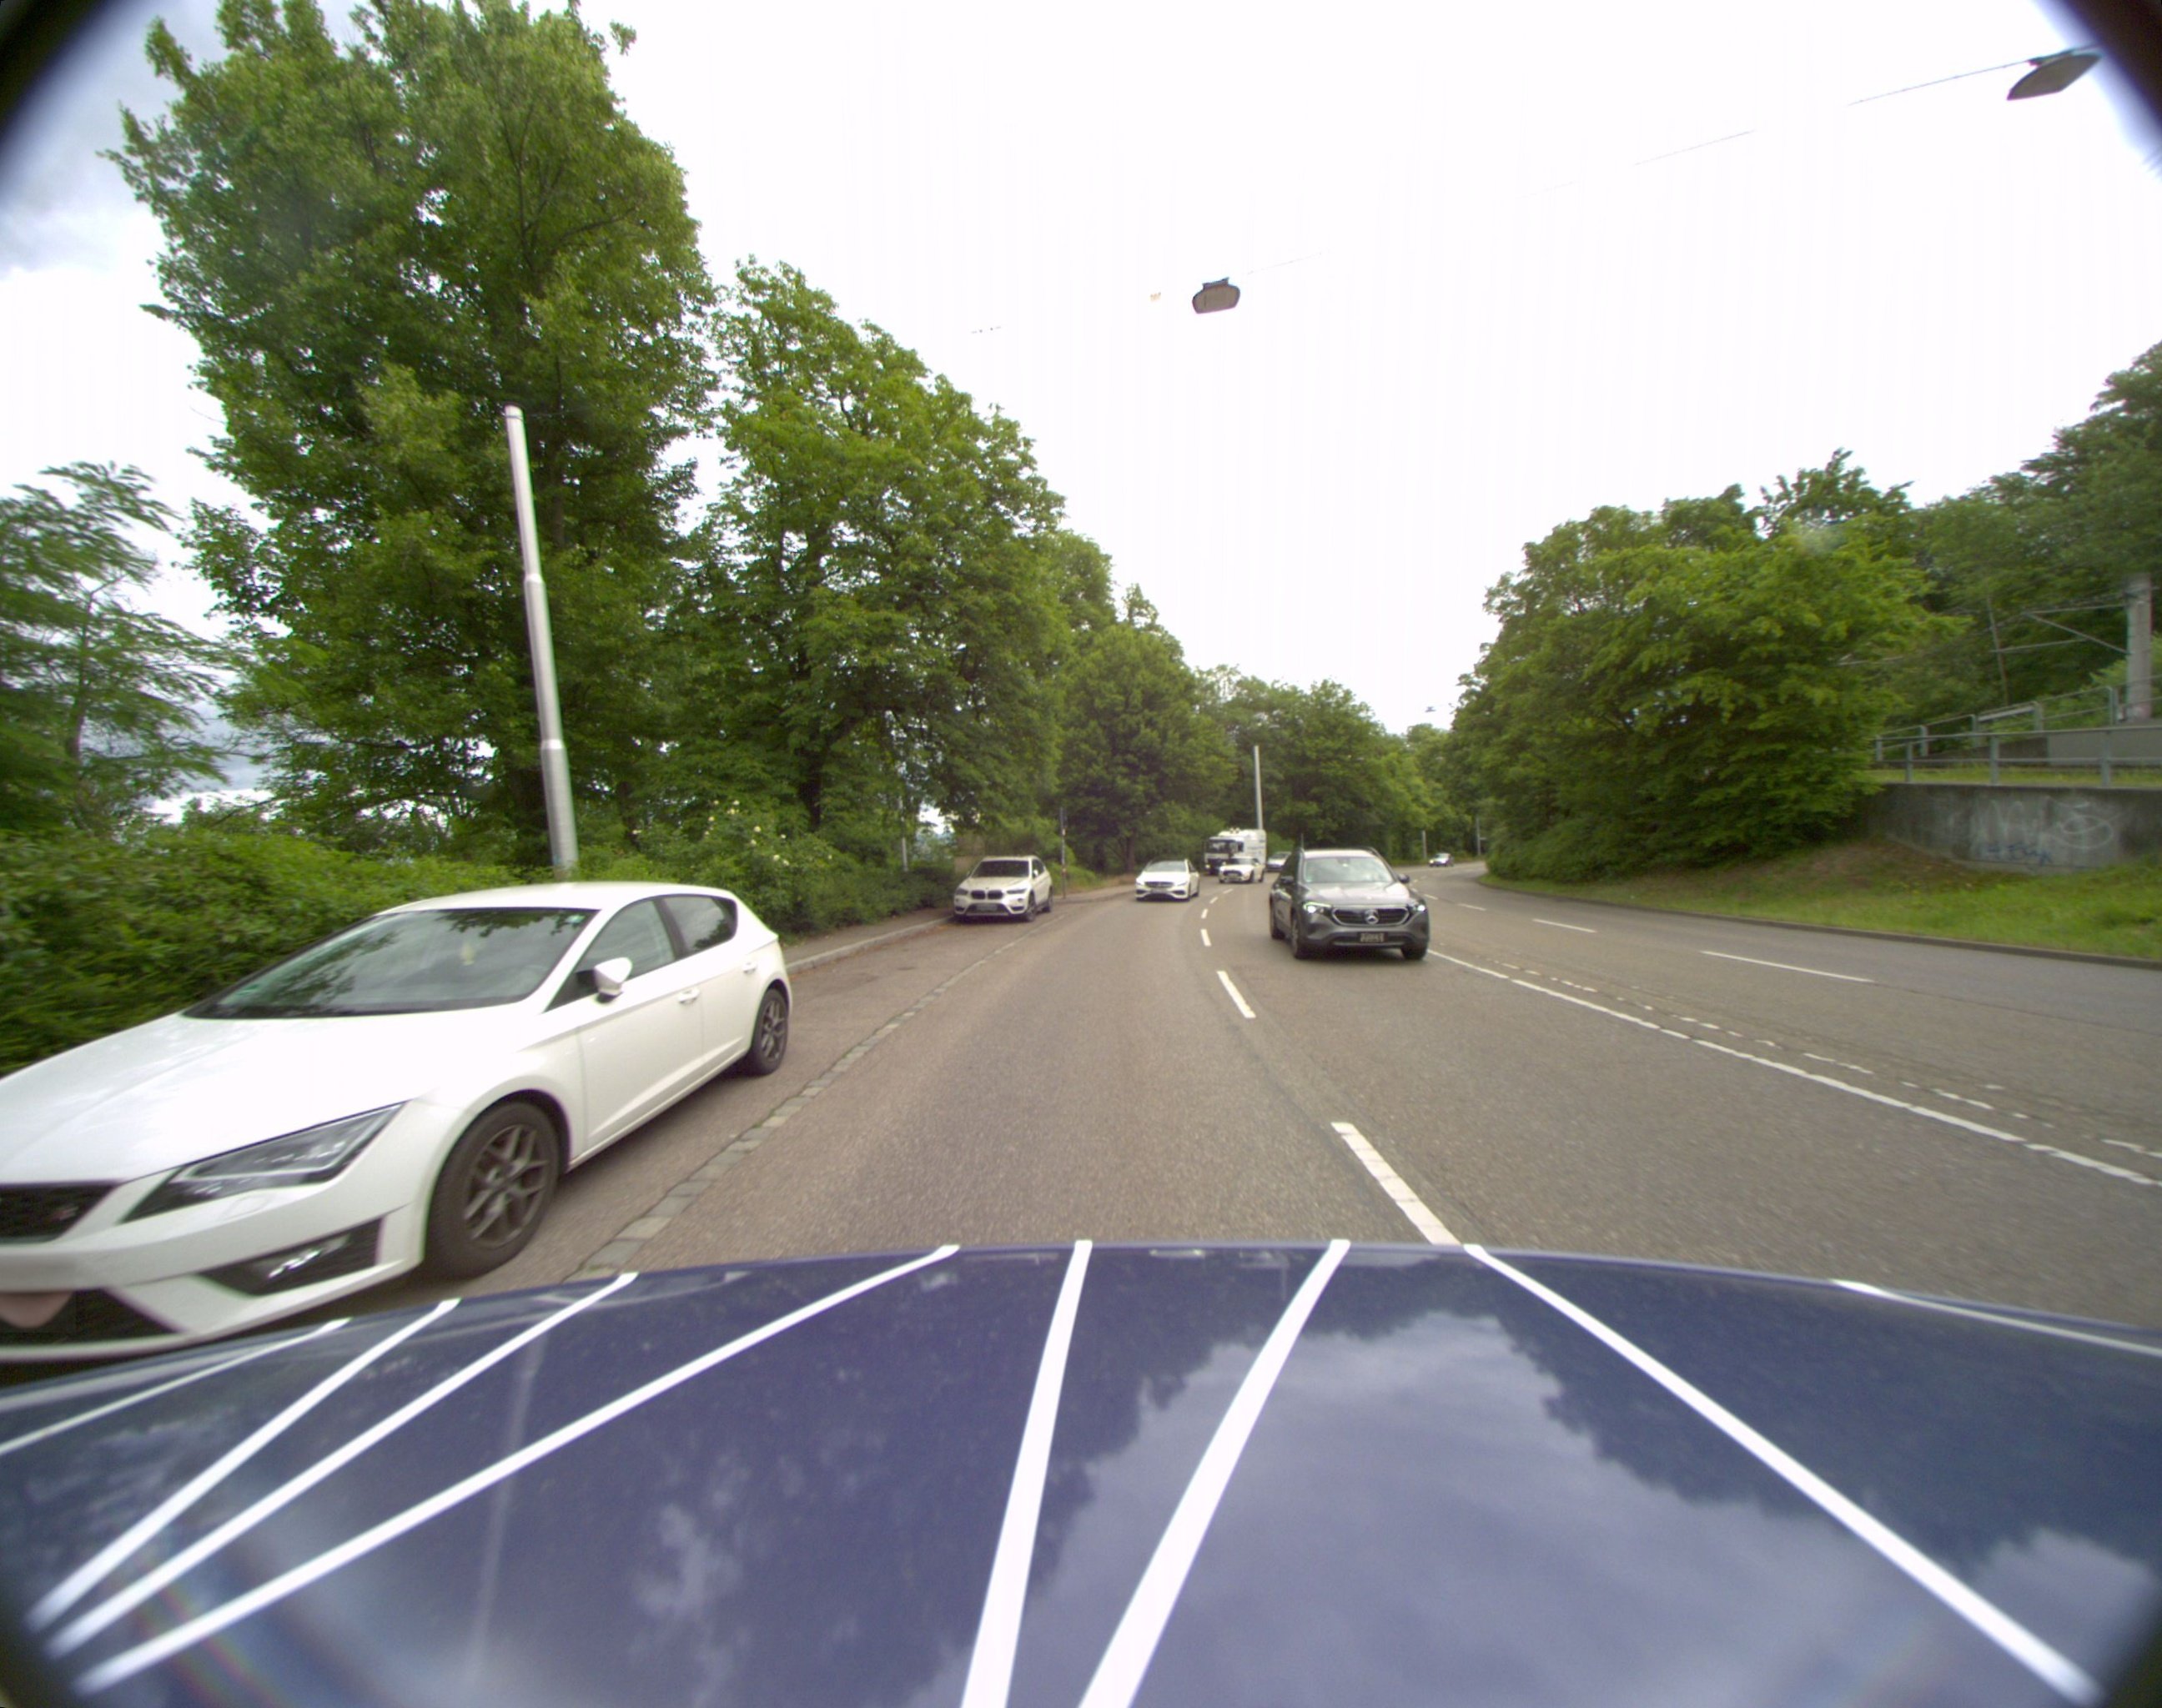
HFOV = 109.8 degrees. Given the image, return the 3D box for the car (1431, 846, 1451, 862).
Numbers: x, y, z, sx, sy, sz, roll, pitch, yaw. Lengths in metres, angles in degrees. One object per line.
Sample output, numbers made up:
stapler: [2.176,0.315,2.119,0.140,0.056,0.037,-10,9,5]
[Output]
car: [37.416,-0.029,78.944,1.695,1.573,4.007,-3,-1,26]

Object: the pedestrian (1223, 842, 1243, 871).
pedestrian: [9.714,0.156,48.532,0.917,1.823,0.986,3,2,32]

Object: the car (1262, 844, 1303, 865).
car: [15.955,0.017,60.054,1.804,1.515,4.008,-2,0,35]

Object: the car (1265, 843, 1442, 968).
car: [4.169,0.658,12.331,1.870,1.653,4.194,0,1,8]

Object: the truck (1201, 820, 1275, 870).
truck: [10.950,-0.623,52.477,2.484,3.162,7.242,-3,-1,32]

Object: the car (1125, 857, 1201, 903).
car: [2.895,0.811,26.028,1.894,1.289,4.332,1,2,15]

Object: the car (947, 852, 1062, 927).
car: [-1.806,0.800,19.497,1.761,1.643,4.384,0,1,11]

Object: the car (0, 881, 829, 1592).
car: [-3.088,1.011,4.121,1.737,1.474,4.701,-3,0,1]
